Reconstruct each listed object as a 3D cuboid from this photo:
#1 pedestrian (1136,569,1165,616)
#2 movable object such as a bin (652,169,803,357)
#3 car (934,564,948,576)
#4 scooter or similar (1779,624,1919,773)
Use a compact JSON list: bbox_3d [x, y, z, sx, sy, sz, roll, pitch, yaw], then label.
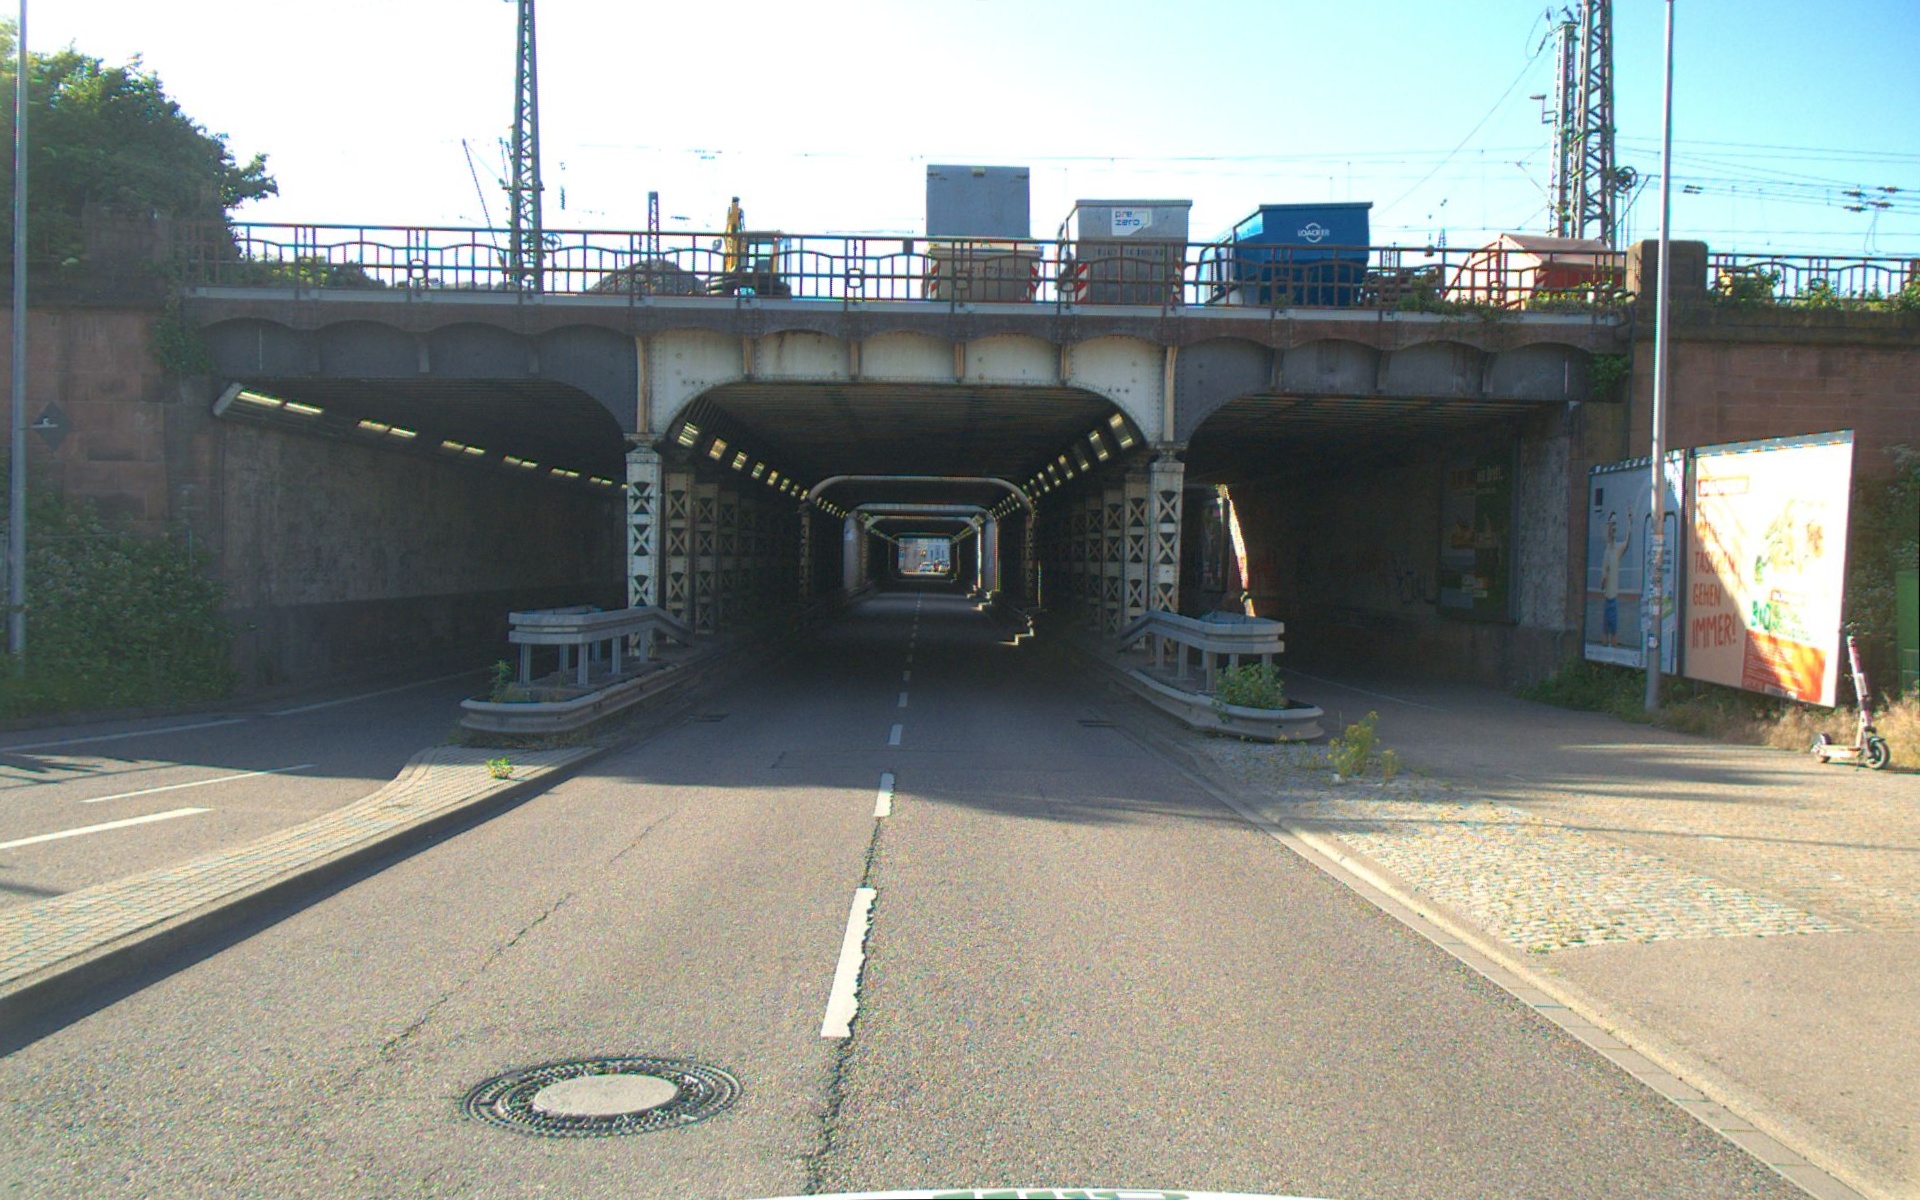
[{"bbox_3d":[7.001,-0.279,60.898,0.898,1.685,0.886,-1,1,-5],"label":"pedestrian"},{"bbox_3d":[-3.982,-5.801,29.136,1.953,2.265,4.830,1,0,0],"label":"movable object such as a bin"},{"bbox_3d":[-2.835,-4.483,247.643,1.953,1.815,3.999,1,1,-1],"label":"car"},{"bbox_3d":[7.838,0.841,14.612,0.526,1.218,1.291,1,0,-1],"label":"scooter or similar"}]
